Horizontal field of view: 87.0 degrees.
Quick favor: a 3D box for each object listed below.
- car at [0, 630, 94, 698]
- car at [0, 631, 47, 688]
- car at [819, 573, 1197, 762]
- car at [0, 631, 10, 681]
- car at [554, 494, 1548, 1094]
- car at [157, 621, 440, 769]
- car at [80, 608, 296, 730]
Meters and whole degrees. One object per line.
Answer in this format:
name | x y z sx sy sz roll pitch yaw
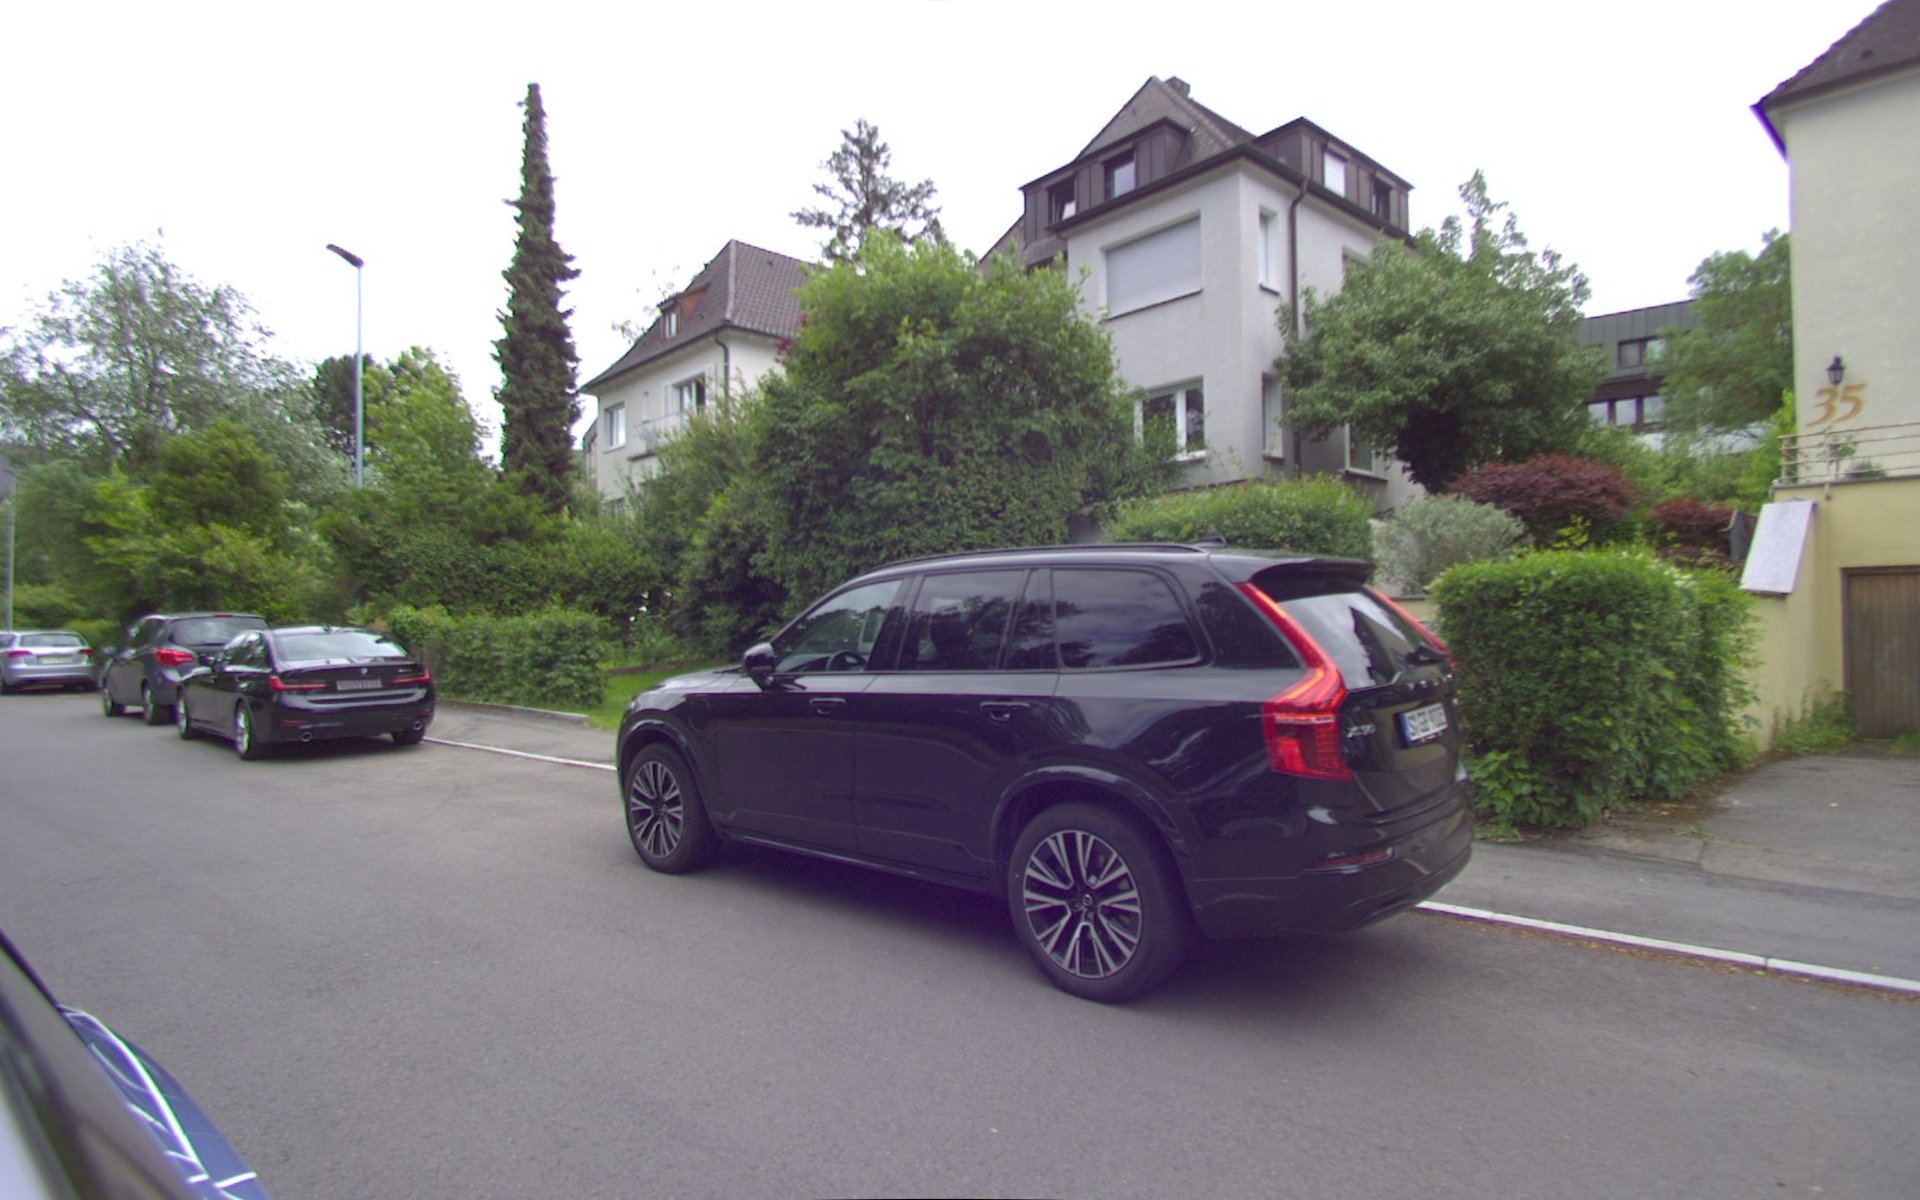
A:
car | -21.764 1.441 23.651 4.089 1.461 1.607 -2 -2 39
car | -26.181 1.580 27.371 4.378 1.464 1.642 -2 -3 41
car | 0.576 0.585 10.680 3.644 1.650 1.832 -1 -1 -37
car | -29.841 1.663 30.345 3.967 1.461 1.606 -2 -2 42
car | -0.019 0.612 5.440 5.188 1.750 1.953 -2 -1 43
car | -8.208 1.010 12.341 4.897 1.423 1.735 -2 -1 43
car | -12.273 1.000 15.974 4.564 1.644 1.714 -2 -1 39
